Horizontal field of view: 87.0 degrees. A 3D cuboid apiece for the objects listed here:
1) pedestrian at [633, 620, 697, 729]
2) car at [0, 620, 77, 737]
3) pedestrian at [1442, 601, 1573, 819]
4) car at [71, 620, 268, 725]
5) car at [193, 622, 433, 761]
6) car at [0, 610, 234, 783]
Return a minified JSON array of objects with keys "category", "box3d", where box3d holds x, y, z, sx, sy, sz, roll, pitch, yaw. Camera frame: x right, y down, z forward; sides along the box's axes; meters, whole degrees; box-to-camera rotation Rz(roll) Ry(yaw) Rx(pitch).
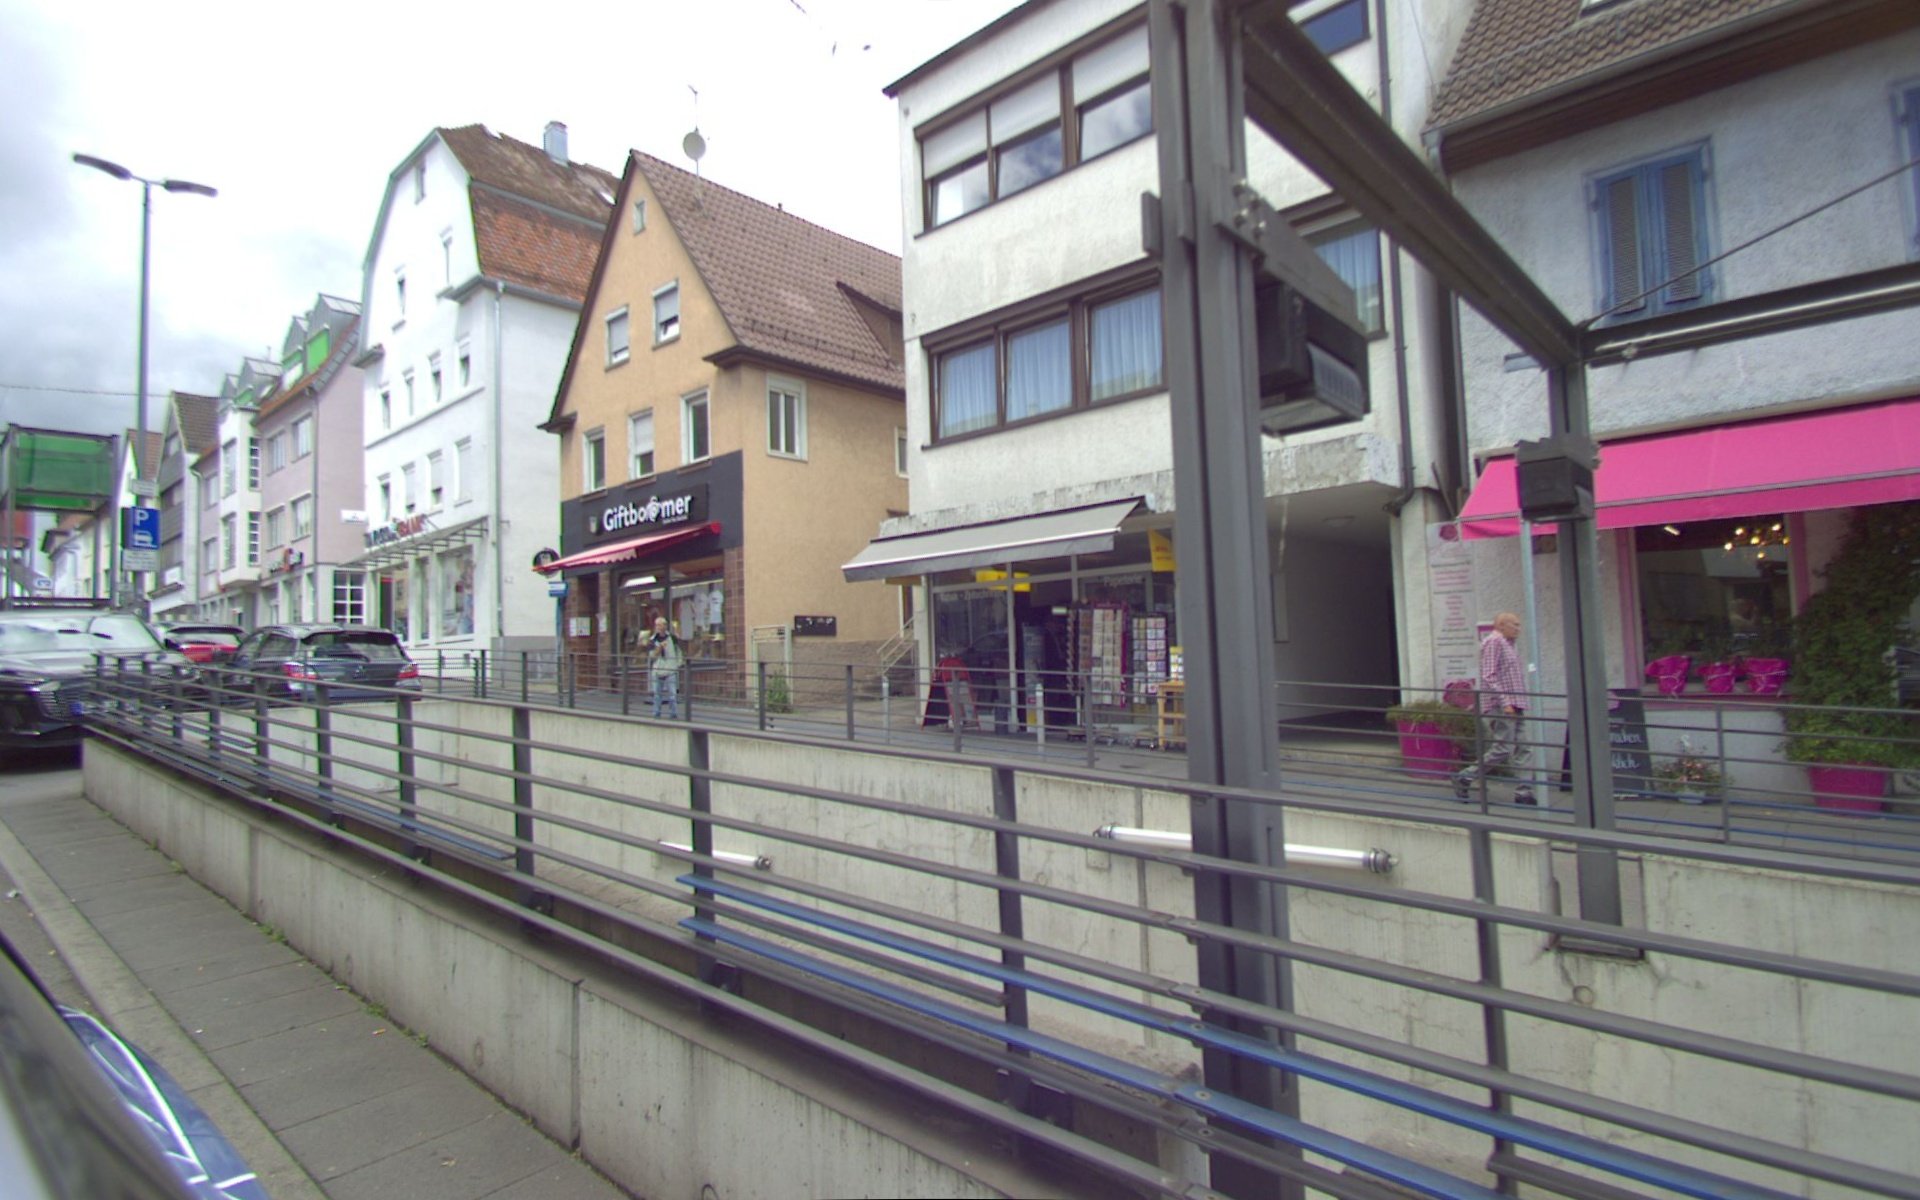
[{"category":"pedestrian","box3d":[-4.845,1.206,16.631,0.664,1.727,0.738,-2,-3,42]},{"category":"car","box3d":[-14.702,1.139,15.334,3.531,1.622,1.556,-2,-1,41]},{"category":"pedestrian","box3d":[4.698,0.905,8.692,0.825,1.753,0.686,-2,-3,43]},{"category":"car","box3d":[-14.104,1.193,17.969,4.492,1.601,1.973,-2,-1,41]},{"category":"car","box3d":[-8.664,1.094,13.436,3.897,1.559,1.681,-2,-1,41]},{"category":"car","box3d":[-10.001,0.940,11.352,4.427,1.578,1.974,-2,-1,40]}]
